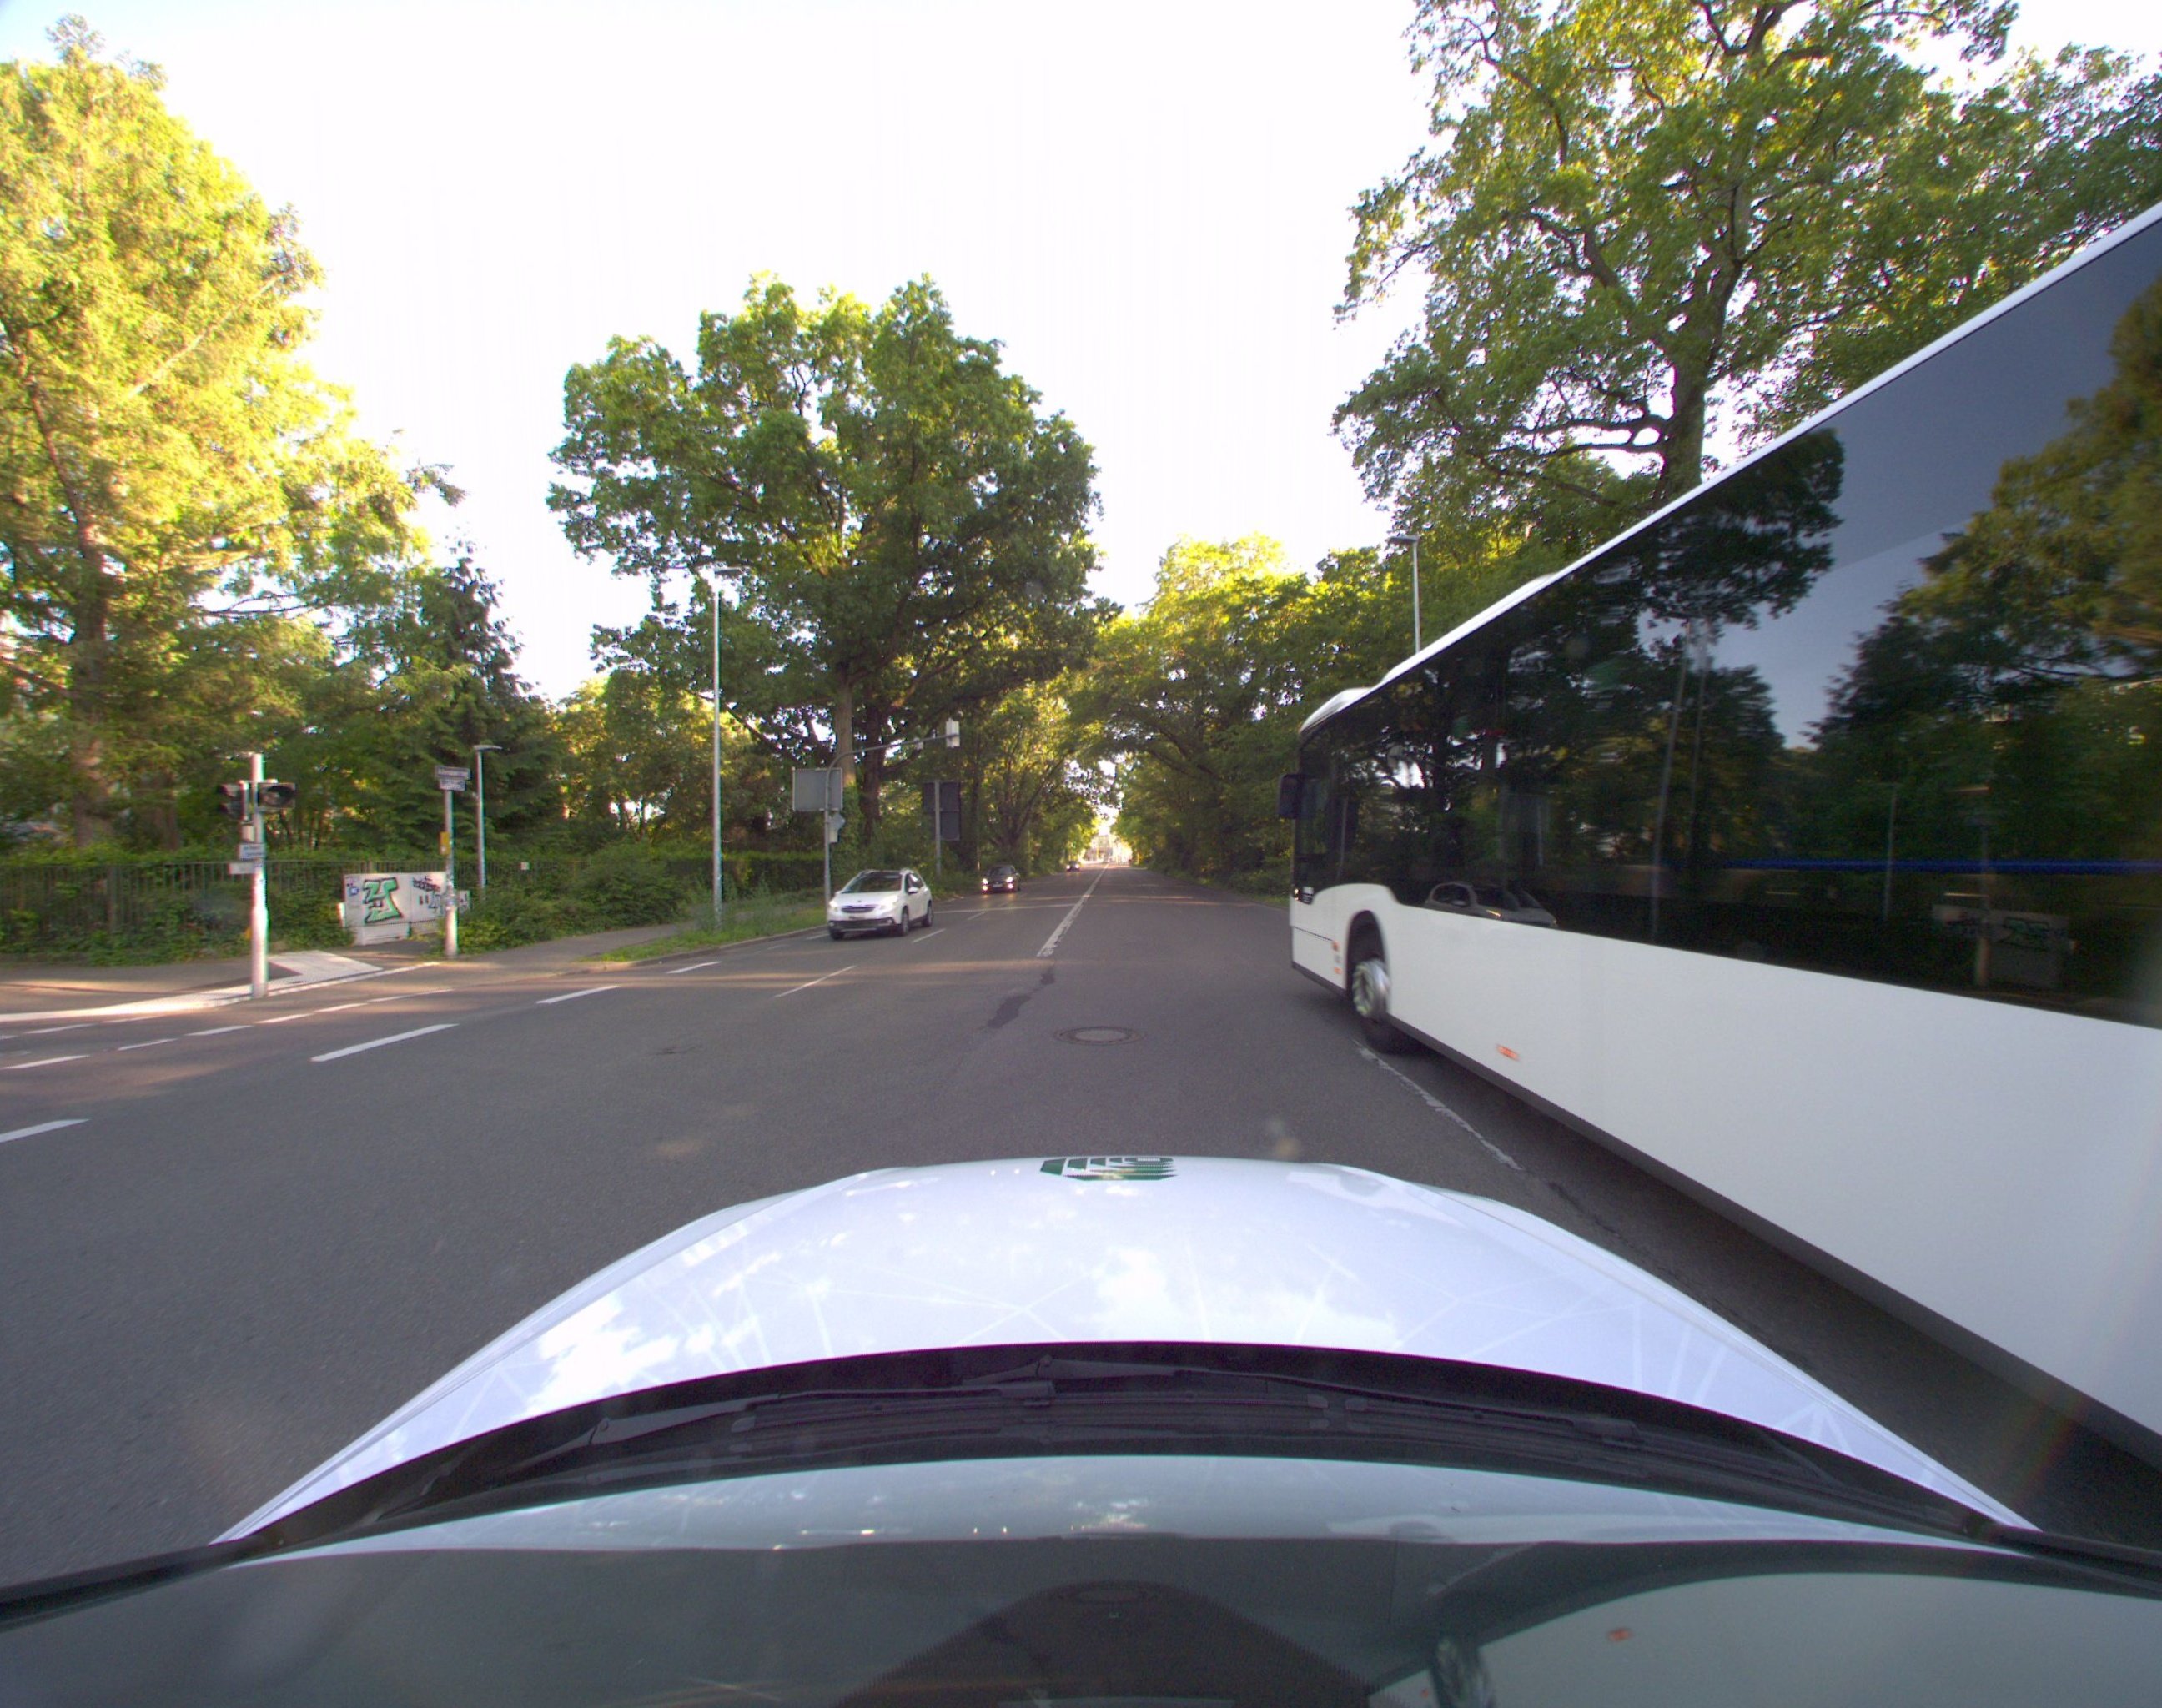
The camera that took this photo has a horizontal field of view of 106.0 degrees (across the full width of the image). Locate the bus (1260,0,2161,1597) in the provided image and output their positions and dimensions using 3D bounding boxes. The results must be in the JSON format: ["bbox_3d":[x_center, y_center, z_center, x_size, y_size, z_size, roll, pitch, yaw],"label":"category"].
[{"bbox_3d":[3.452,-0.228,3.523,3.000,3.087,12.275,1,0,2],"label":"bus"}]

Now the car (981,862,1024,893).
[{"bbox_3d":[-4.099,1.220,43.120,1.701,1.453,3.641,-4,0,2],"label":"car"}]

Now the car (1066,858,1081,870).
[{"bbox_3d":[-1.087,1.346,113.758,1.800,1.580,4.321,-4,0,2],"label":"car"}]

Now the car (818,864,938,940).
[{"bbox_3d":[-4.725,1.059,19.511,1.671,1.524,3.903,-4,0,2],"label":"car"}]
